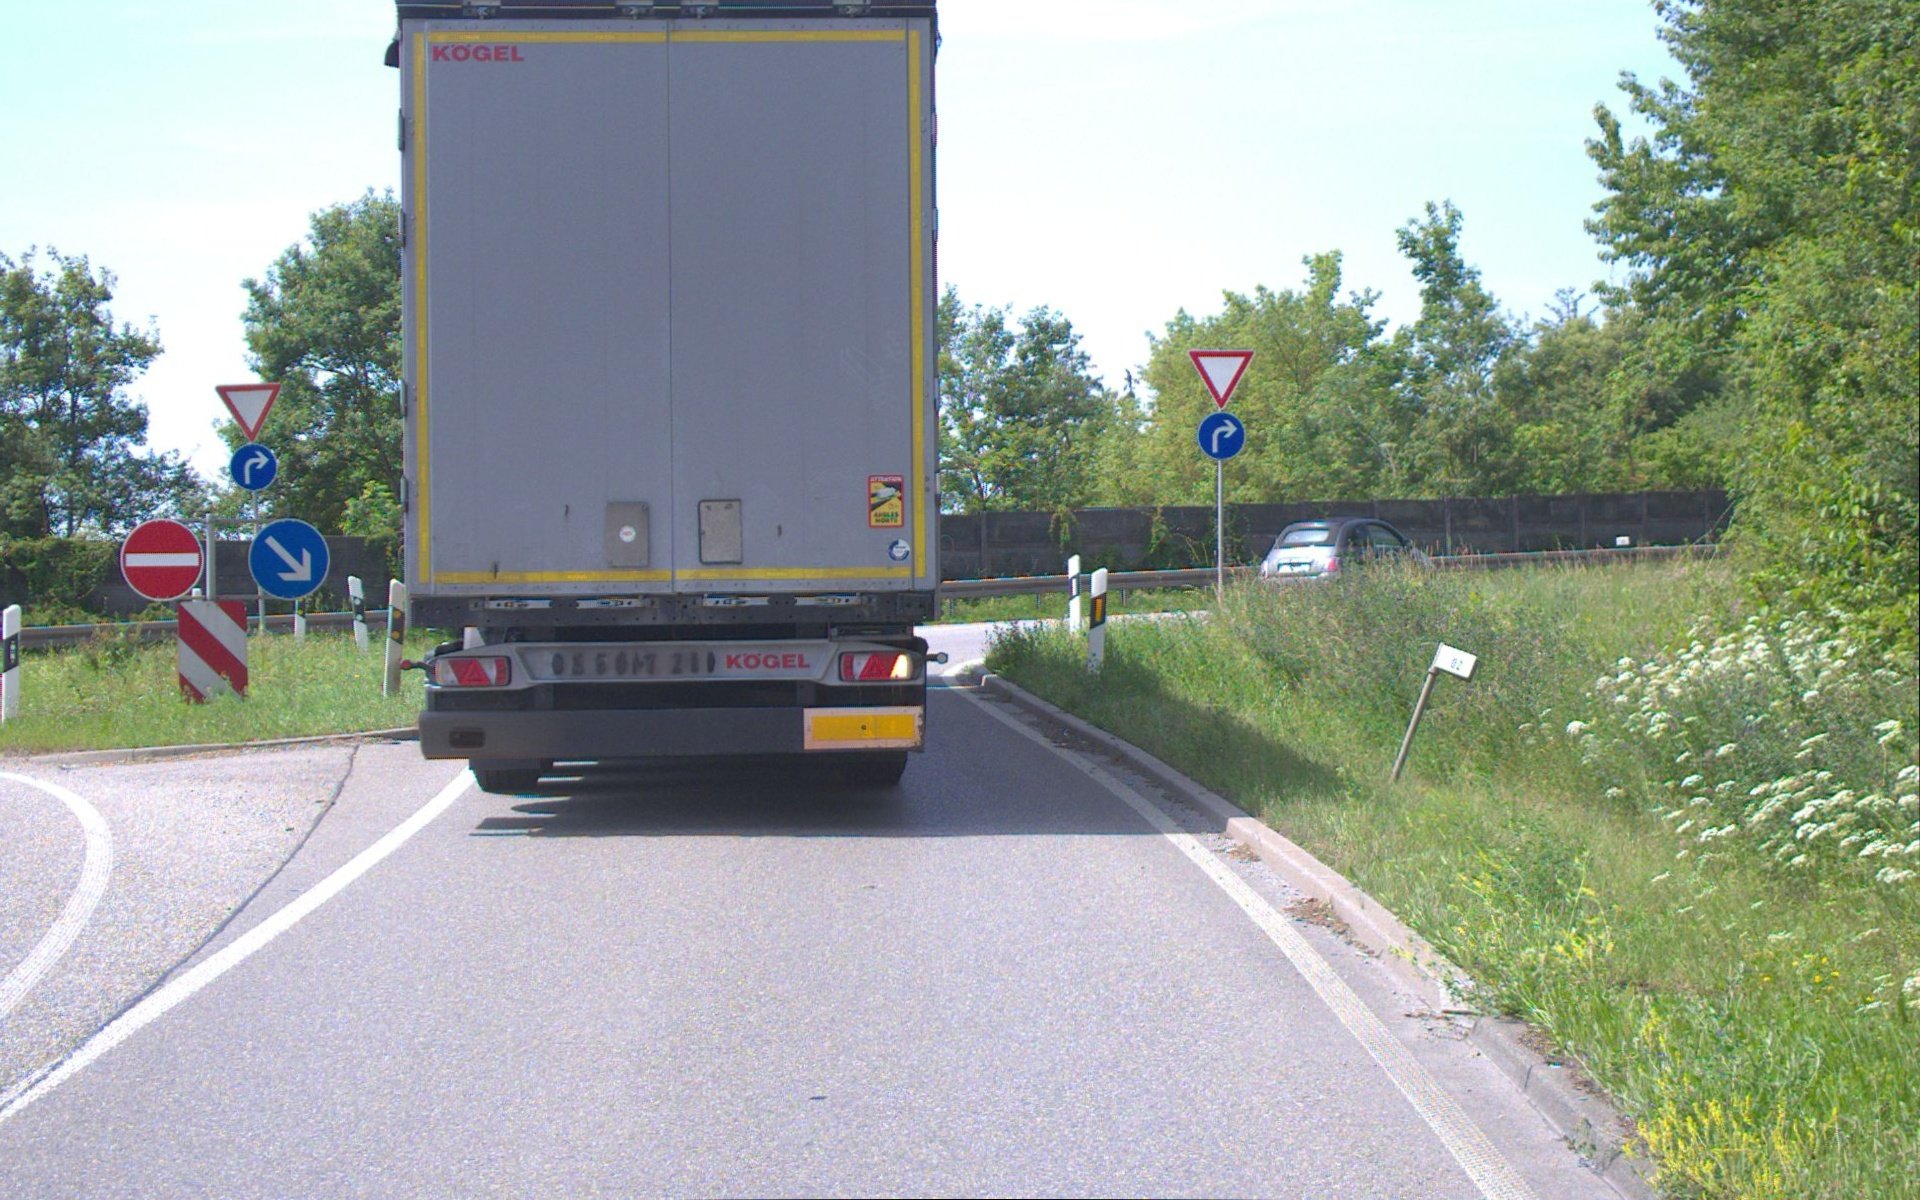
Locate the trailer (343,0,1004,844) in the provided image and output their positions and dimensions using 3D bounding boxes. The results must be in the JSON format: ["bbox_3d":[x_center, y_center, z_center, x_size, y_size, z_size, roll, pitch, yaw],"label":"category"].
[{"bbox_3d":[-1.689,-1.057,22.717,3.026,4.020,13.354,-1,1,-3],"label":"trailer"}]

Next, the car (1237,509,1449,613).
[{"bbox_3d":[5.947,-0.620,53.016,1.669,1.481,3.993,-1,1,32],"label":"car"}]
